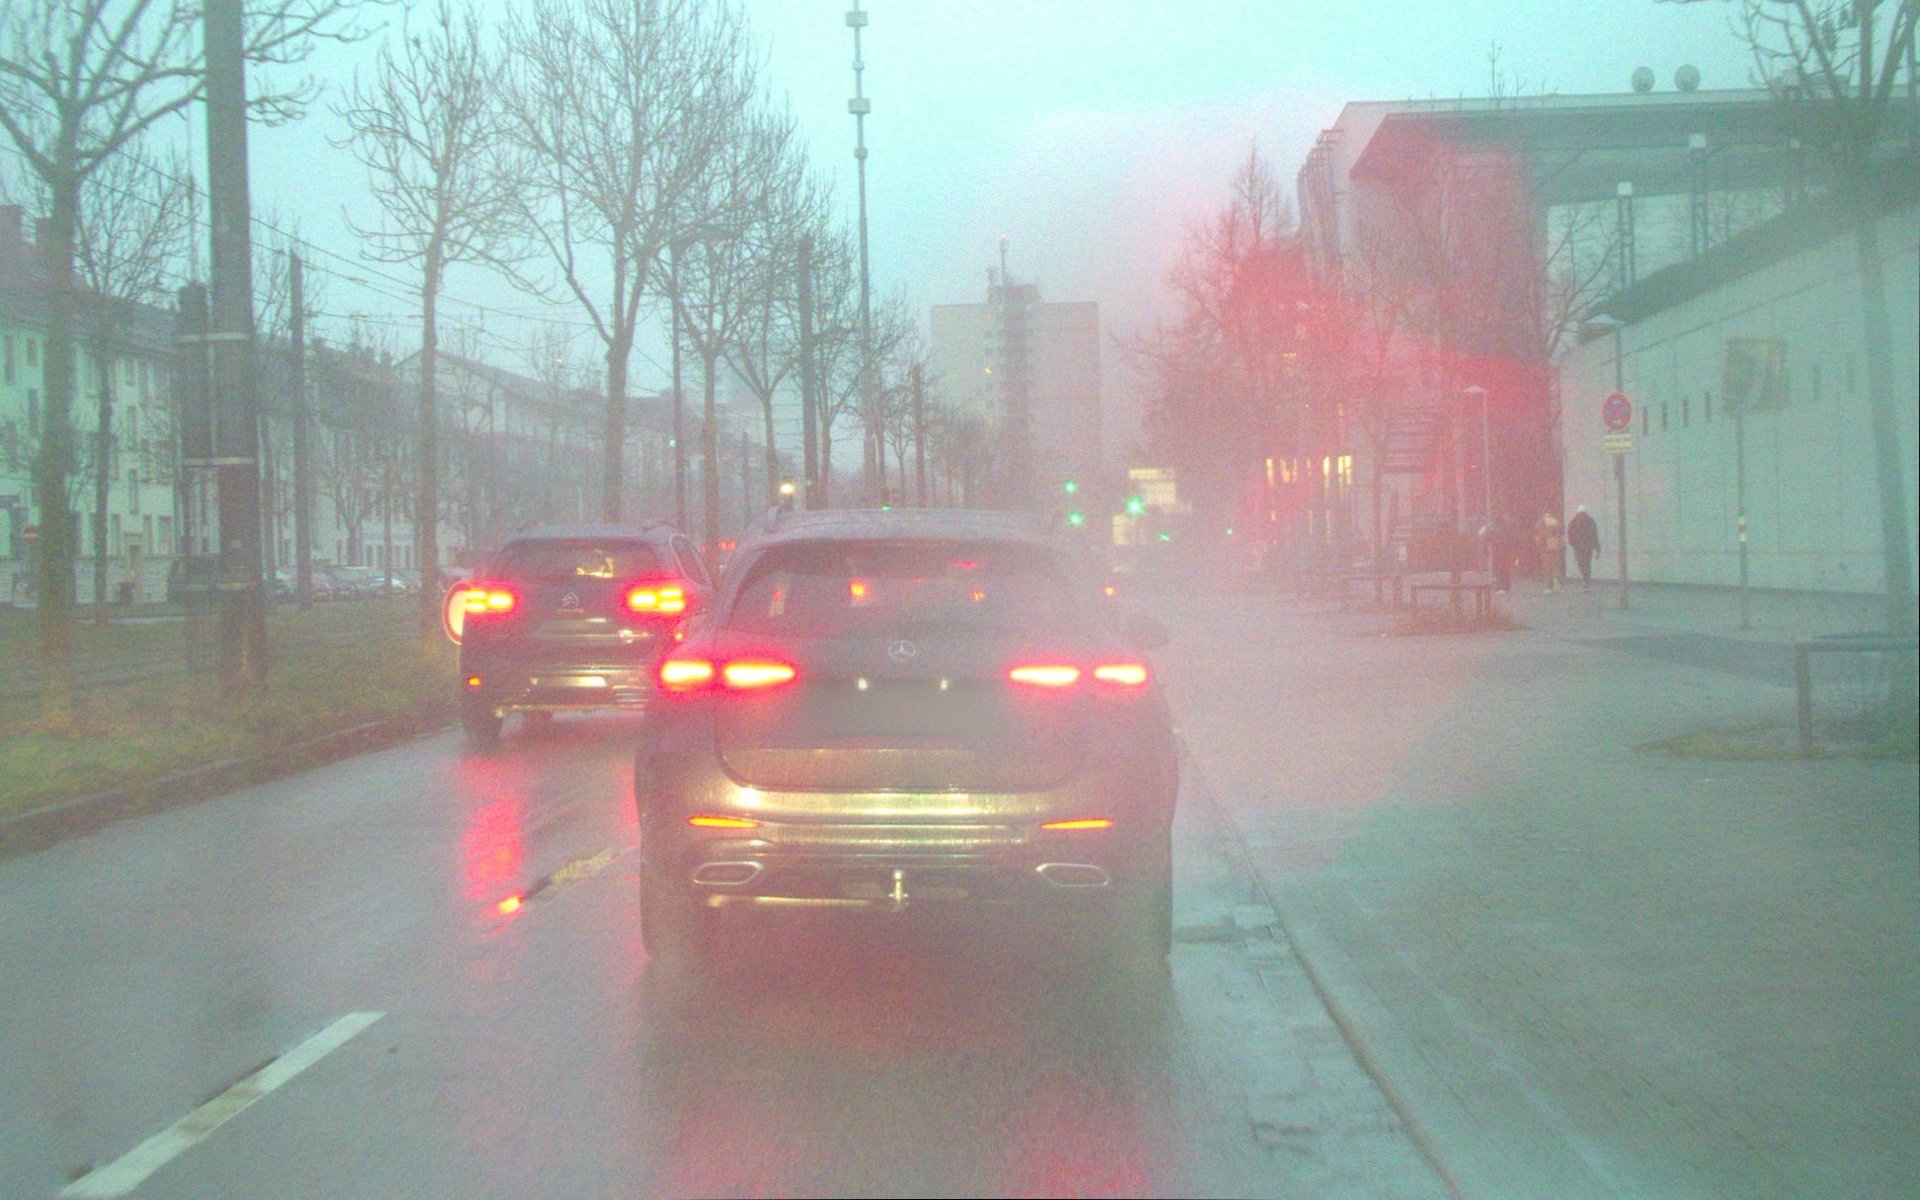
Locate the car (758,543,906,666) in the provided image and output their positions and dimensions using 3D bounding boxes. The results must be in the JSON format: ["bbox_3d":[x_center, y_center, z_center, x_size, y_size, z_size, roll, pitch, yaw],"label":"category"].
[{"bbox_3d":[-1.701,0.027,46.771,1.672,1.594,4.053,0,1,3],"label":"car"}]

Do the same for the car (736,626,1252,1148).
[{"bbox_3d":[0.202,0.942,13.162,1.672,1.594,4.053,0,1,3],"label":"car"}]

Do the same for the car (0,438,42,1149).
[{"bbox_3d":[-2.984,0.460,6.036,1.672,1.594,4.054,0,1,0],"label":"car"}]

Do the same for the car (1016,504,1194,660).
[{"bbox_3d":[1.748,-0.236,41.117,1.994,1.738,4.000,-1,1,3],"label":"car"}]

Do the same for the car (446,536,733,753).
[{"bbox_3d":[-2.867,0.298,27.393,1.672,1.594,4.053,0,1,3],"label":"car"}]
